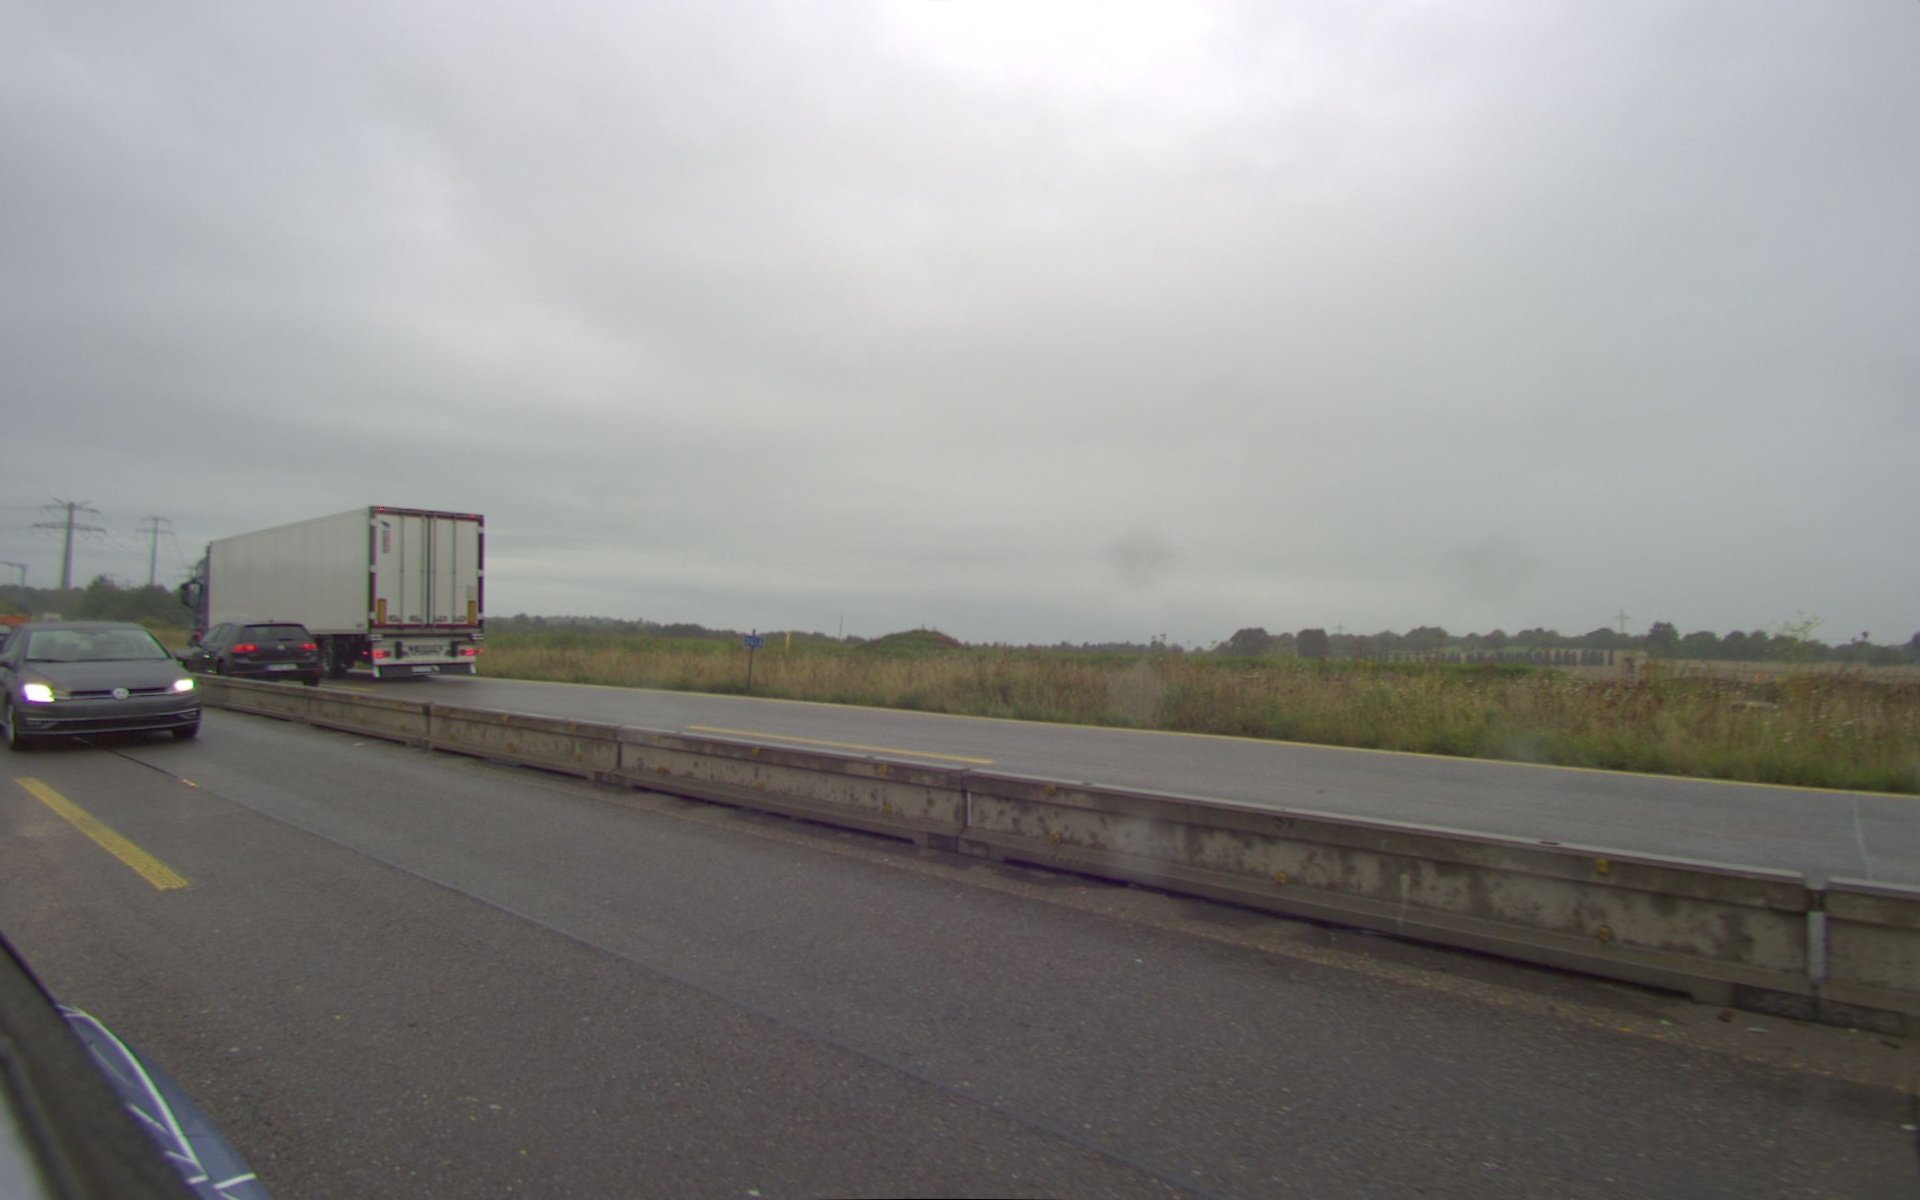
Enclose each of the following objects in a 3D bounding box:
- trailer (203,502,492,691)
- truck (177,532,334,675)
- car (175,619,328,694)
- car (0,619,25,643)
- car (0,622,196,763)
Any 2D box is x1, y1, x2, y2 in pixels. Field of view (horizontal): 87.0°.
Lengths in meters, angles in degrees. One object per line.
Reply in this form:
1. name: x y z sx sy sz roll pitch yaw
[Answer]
1. trailer: -17.516 0.056 28.159 13.665 4.232 2.757 -1 -2 41
2. truck: -22.910 0.175 32.827 5.903 4.213 2.758 -1 -2 41
3. car: -15.153 1.127 21.569 4.088 1.431 1.700 -1 -1 41
4. car: -66.160 2.105 70.039 4.088 1.628 1.708 -1 -1 41
5. car: -11.031 1.012 12.591 4.078 1.433 1.632 -1 0 41
